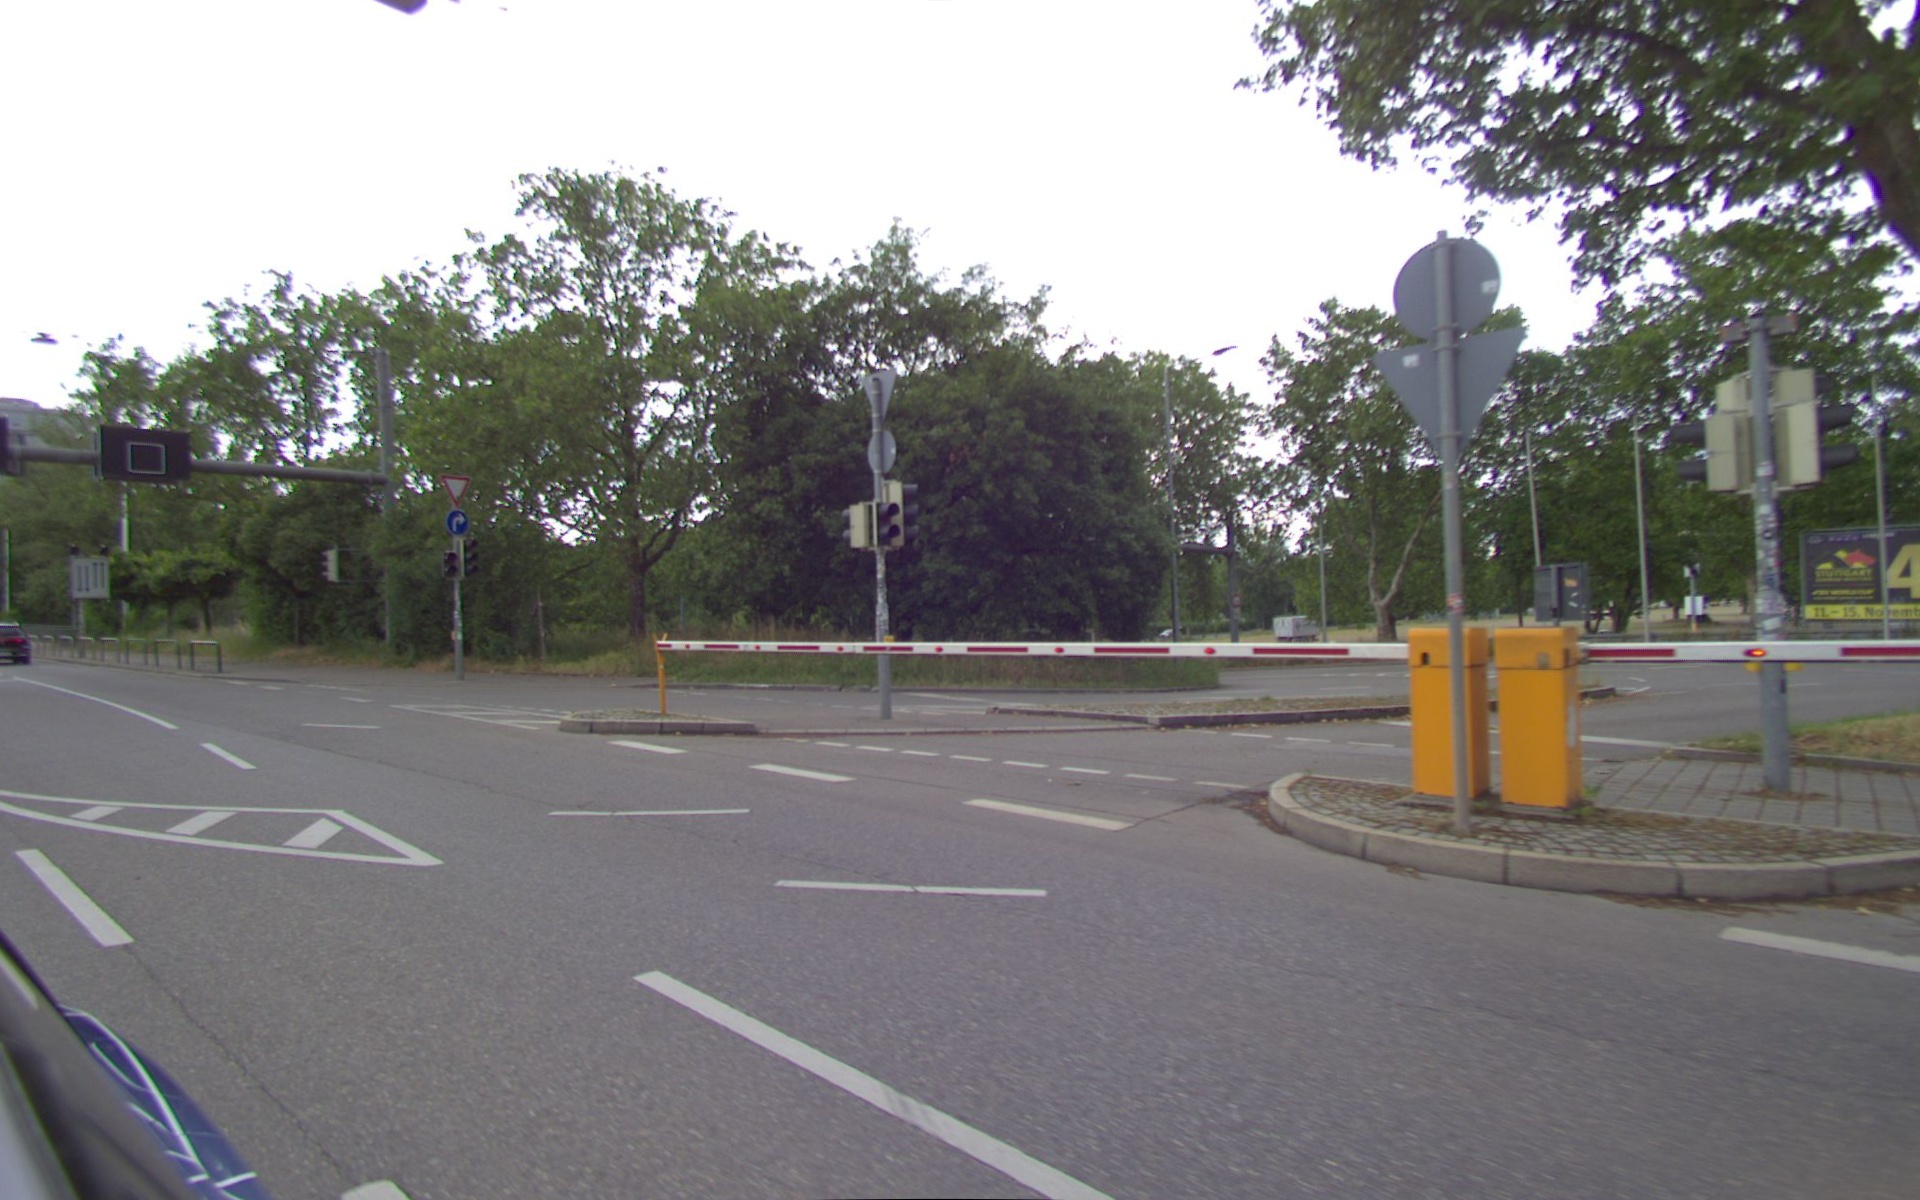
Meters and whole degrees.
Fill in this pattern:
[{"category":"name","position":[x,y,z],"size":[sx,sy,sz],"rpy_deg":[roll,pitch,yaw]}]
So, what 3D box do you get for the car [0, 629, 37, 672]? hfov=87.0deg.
[{"category":"car","position":[-38.432,1.997,40.431],"size":[4.518,1.673,1.971],"rpy_deg":[-2,-2,44]}]
